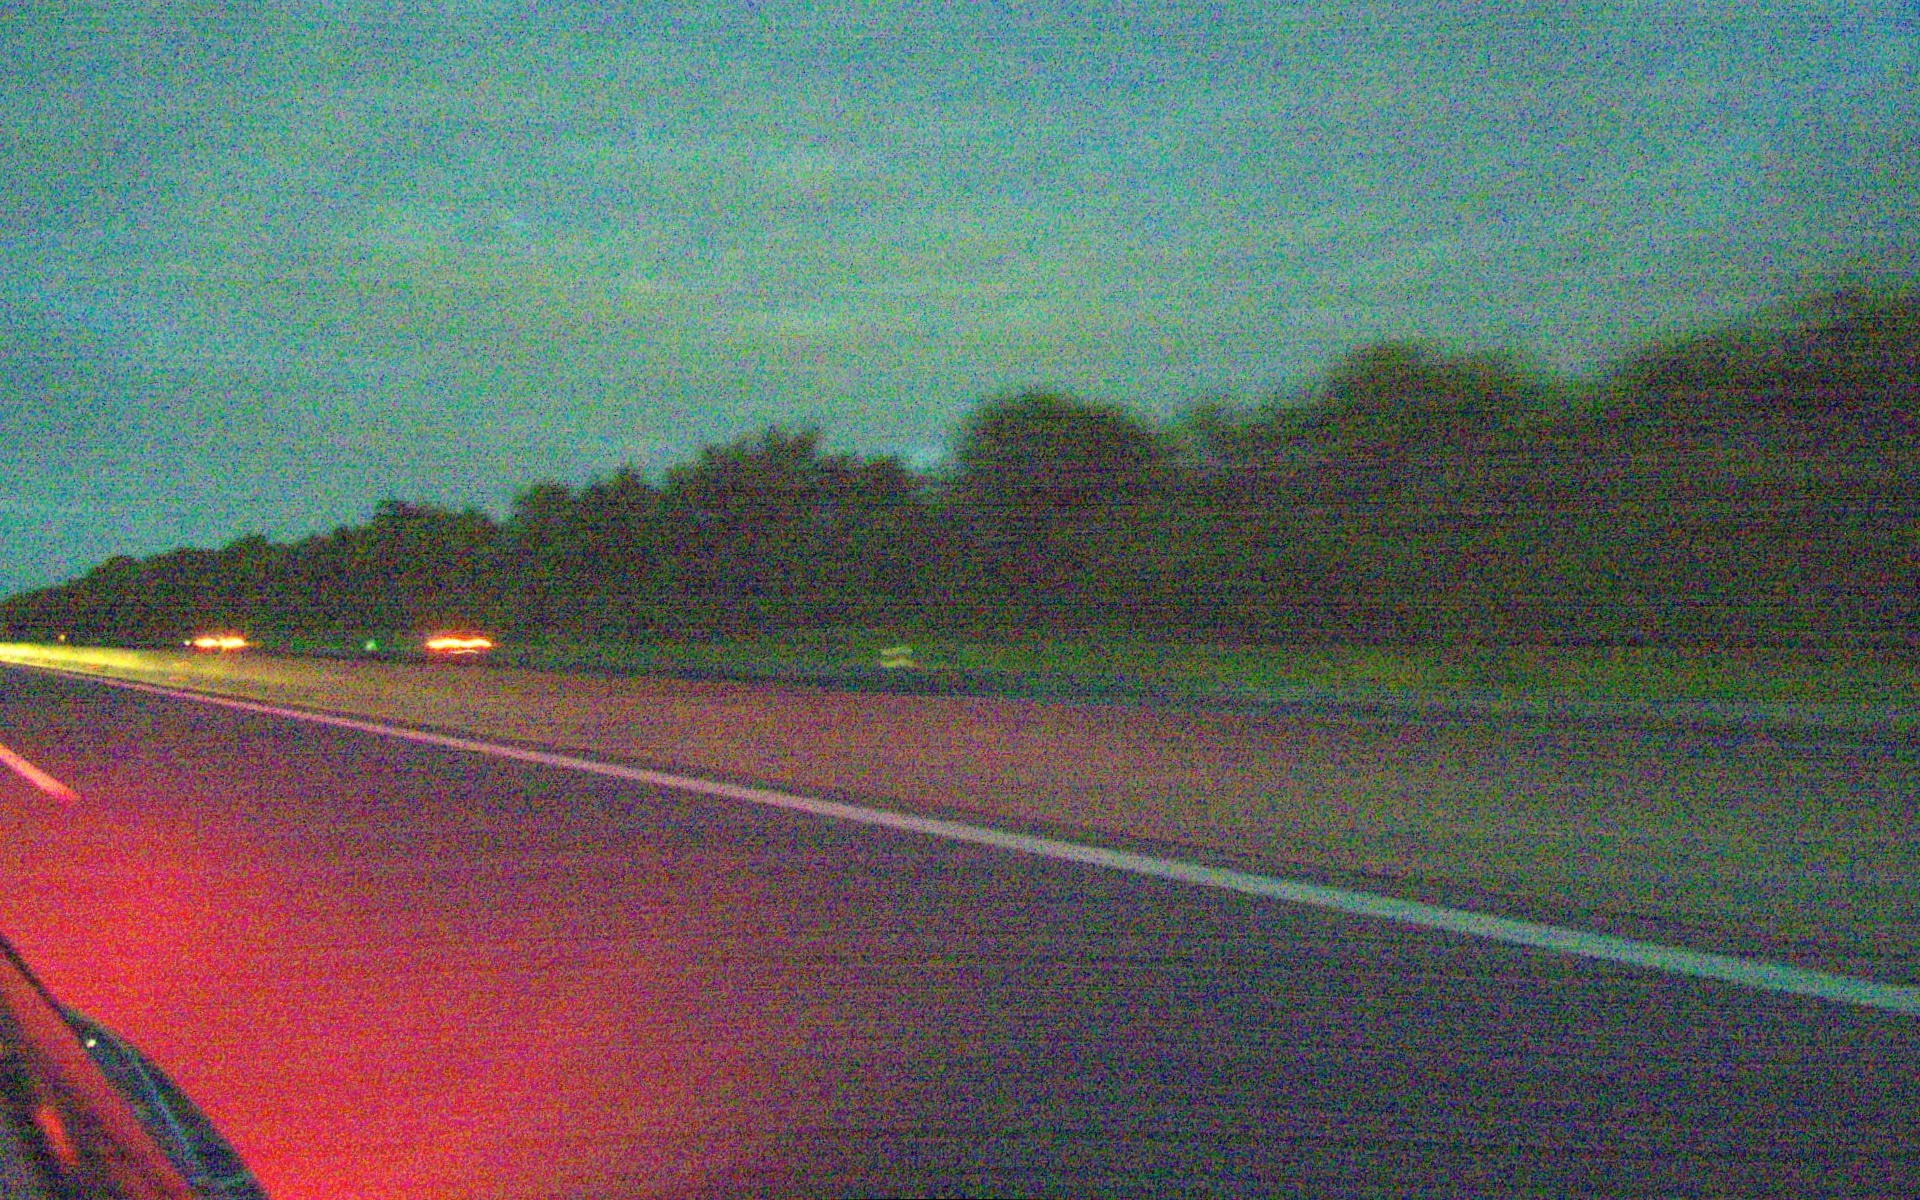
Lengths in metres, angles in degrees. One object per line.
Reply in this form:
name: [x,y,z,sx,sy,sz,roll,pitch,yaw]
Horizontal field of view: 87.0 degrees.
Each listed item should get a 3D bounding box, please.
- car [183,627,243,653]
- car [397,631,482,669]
car: [-43.319,2.307,58.660,4.653,1.482,1.883,-2,-2,42]
car: [-23.732,2.238,46.069,4.653,1.633,1.883,-2,-2,42]
